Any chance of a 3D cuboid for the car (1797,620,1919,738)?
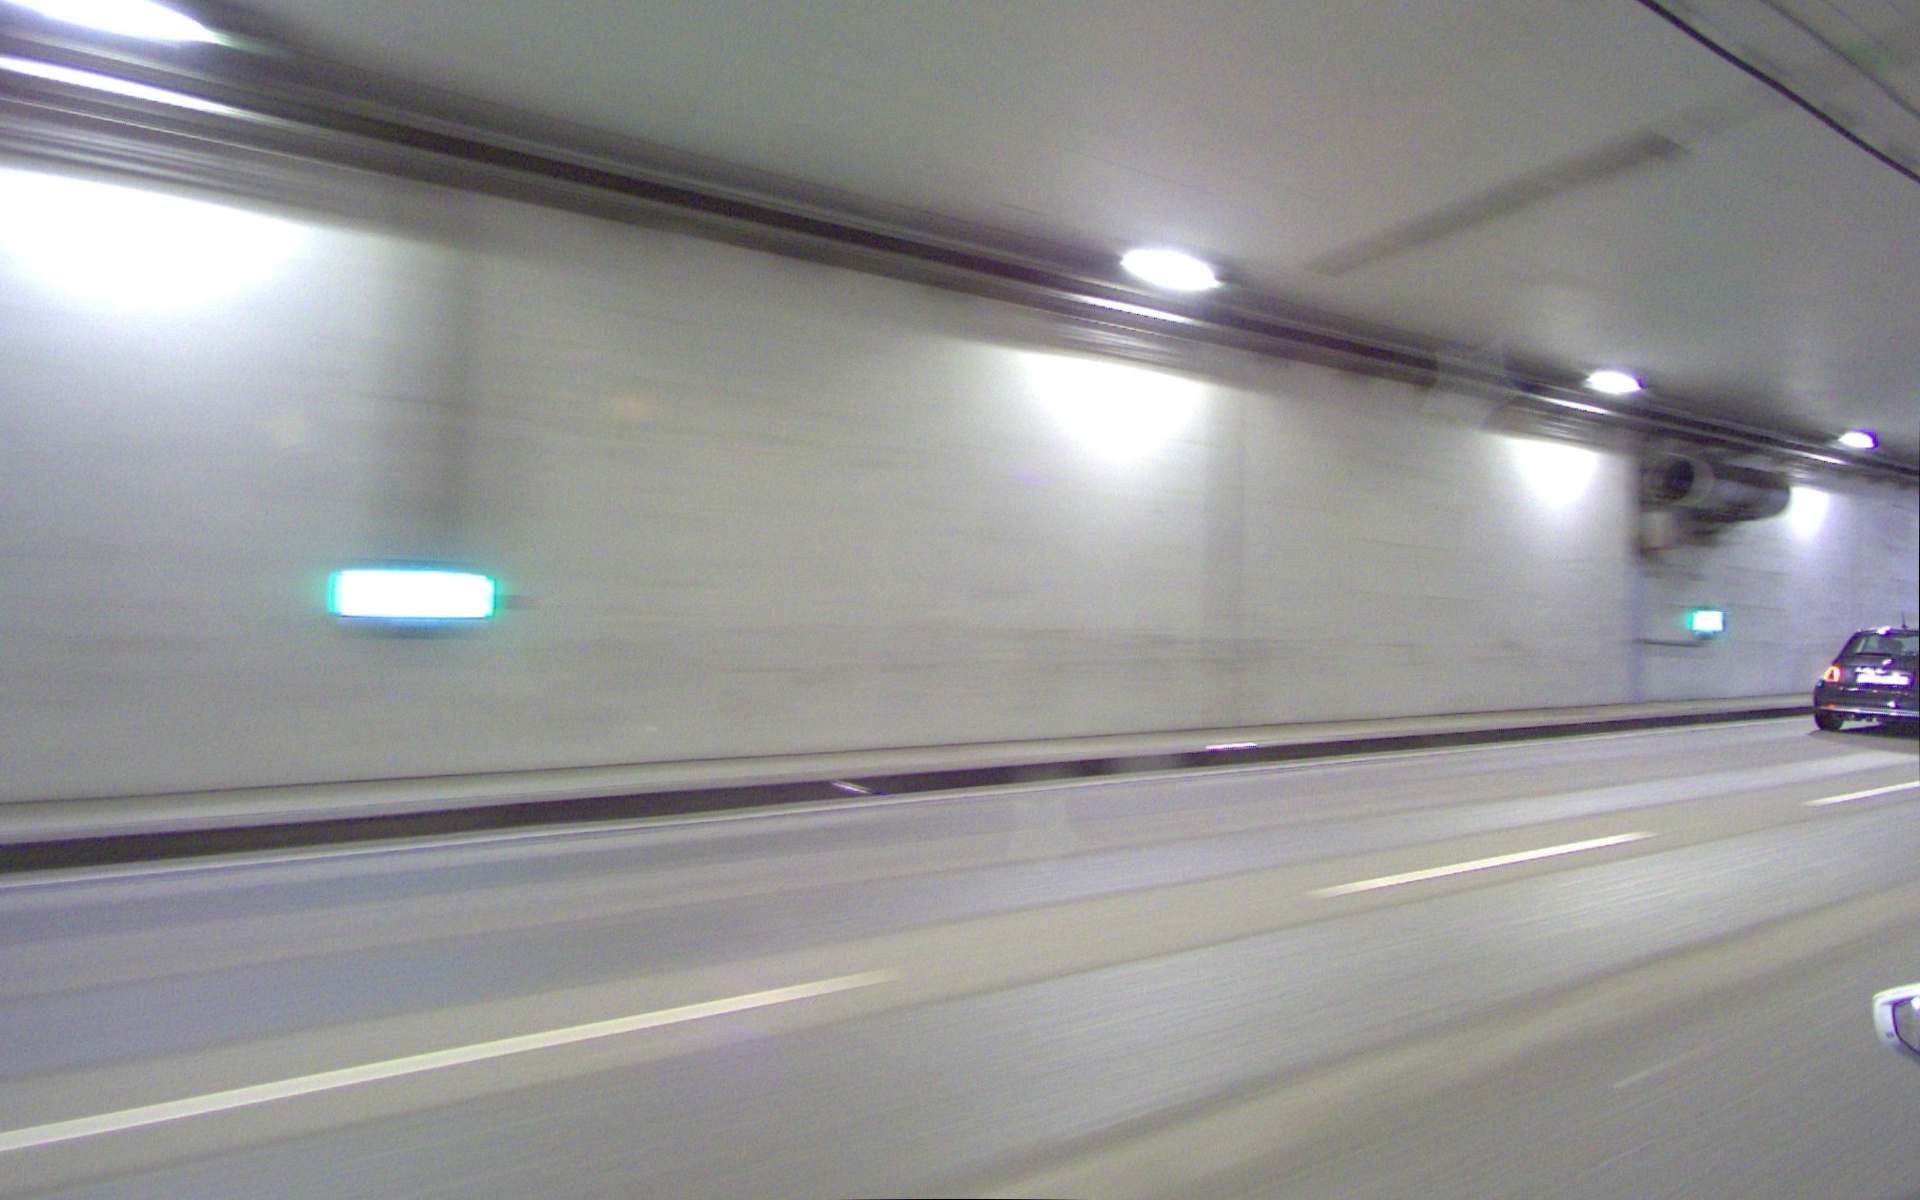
[{"bbox_3d":[13.572,1.059,14.175,3.531,1.474,1.604,1,0,-31],"label":"car"}]
